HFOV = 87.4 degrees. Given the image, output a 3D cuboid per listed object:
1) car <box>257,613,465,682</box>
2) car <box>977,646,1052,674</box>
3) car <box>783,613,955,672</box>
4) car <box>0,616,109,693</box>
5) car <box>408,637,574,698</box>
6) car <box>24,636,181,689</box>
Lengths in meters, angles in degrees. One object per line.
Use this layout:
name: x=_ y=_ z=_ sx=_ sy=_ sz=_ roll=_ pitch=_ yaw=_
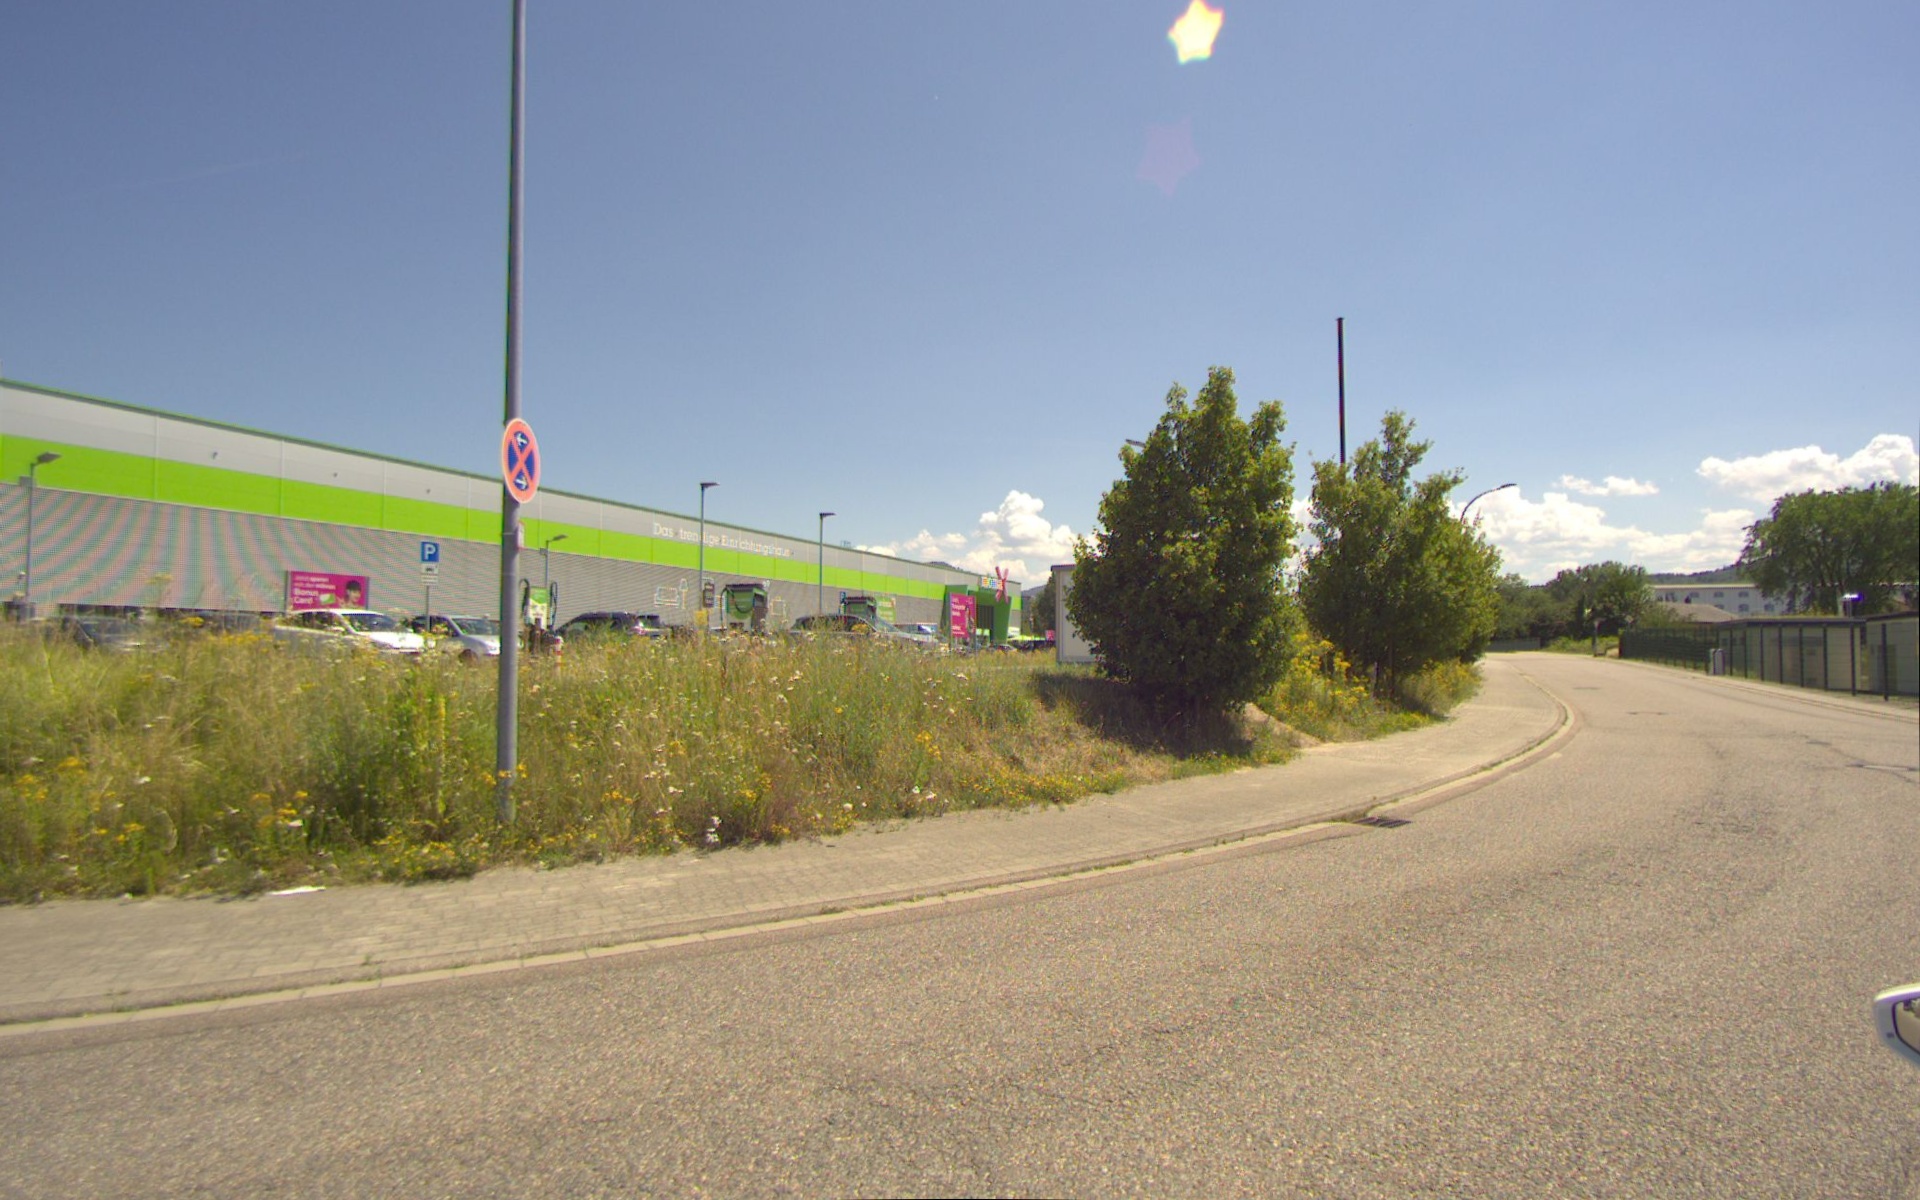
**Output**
car: x=-13.402 y=1.052 z=22.506 sx=3.922 sy=1.431 sz=2.000 roll=-1 pitch=-2 yaw=21
car: x=3.181 y=3.502 z=58.584 sx=3.922 sy=1.564 sz=2.000 roll=-1 pitch=-2 yaw=21
car: x=-2.719 y=1.277 z=30.013 sx=4.744 sy=1.679 sz=2.000 roll=-1 pitch=-2 yaw=21
car: x=-23.748 y=1.361 z=25.193 sx=3.922 sy=1.800 sz=2.000 roll=-1 pitch=-2 yaw=21
car: x=-11.715 y=1.654 z=25.116 sx=3.724 sy=1.417 sz=1.642 roll=-1 pitch=-2 yaw=21
car: x=-23.082 y=1.651 z=27.038 sx=3.922 sy=1.342 sz=1.491 roll=-1 pitch=-2 yaw=21
